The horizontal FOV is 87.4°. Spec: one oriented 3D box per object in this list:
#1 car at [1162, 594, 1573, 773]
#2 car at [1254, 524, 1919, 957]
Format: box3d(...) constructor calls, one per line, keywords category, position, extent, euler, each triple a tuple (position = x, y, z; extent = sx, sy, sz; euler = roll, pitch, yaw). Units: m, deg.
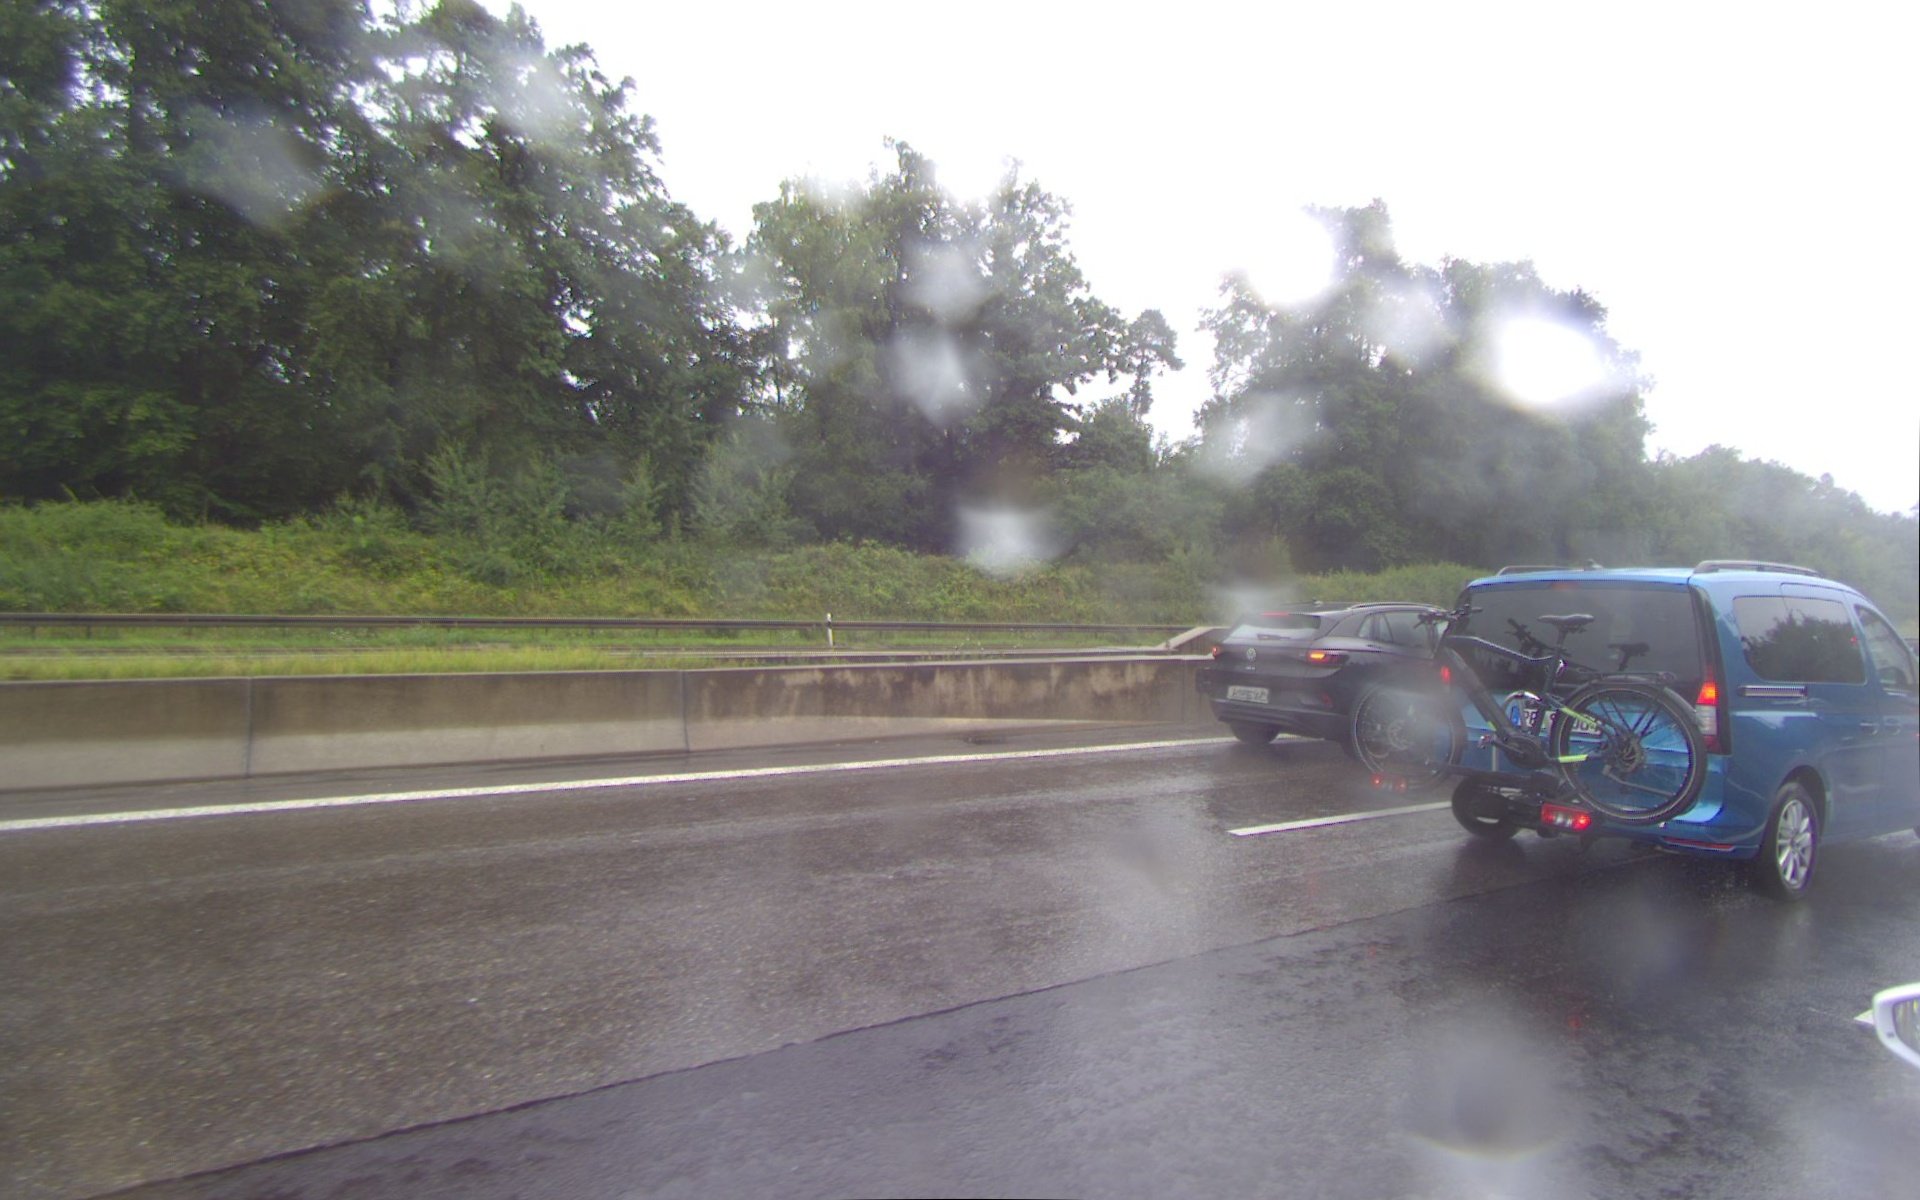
box3d(category="car", position=(4.517, 0.791, 10.973), extent=(4.413, 1.613, 1.837), euler=(1, 0, -30))
box3d(category="car", position=(4.609, 0.667, 6.696), extent=(4.954, 1.937, 2.259), euler=(1, 0, -29))
